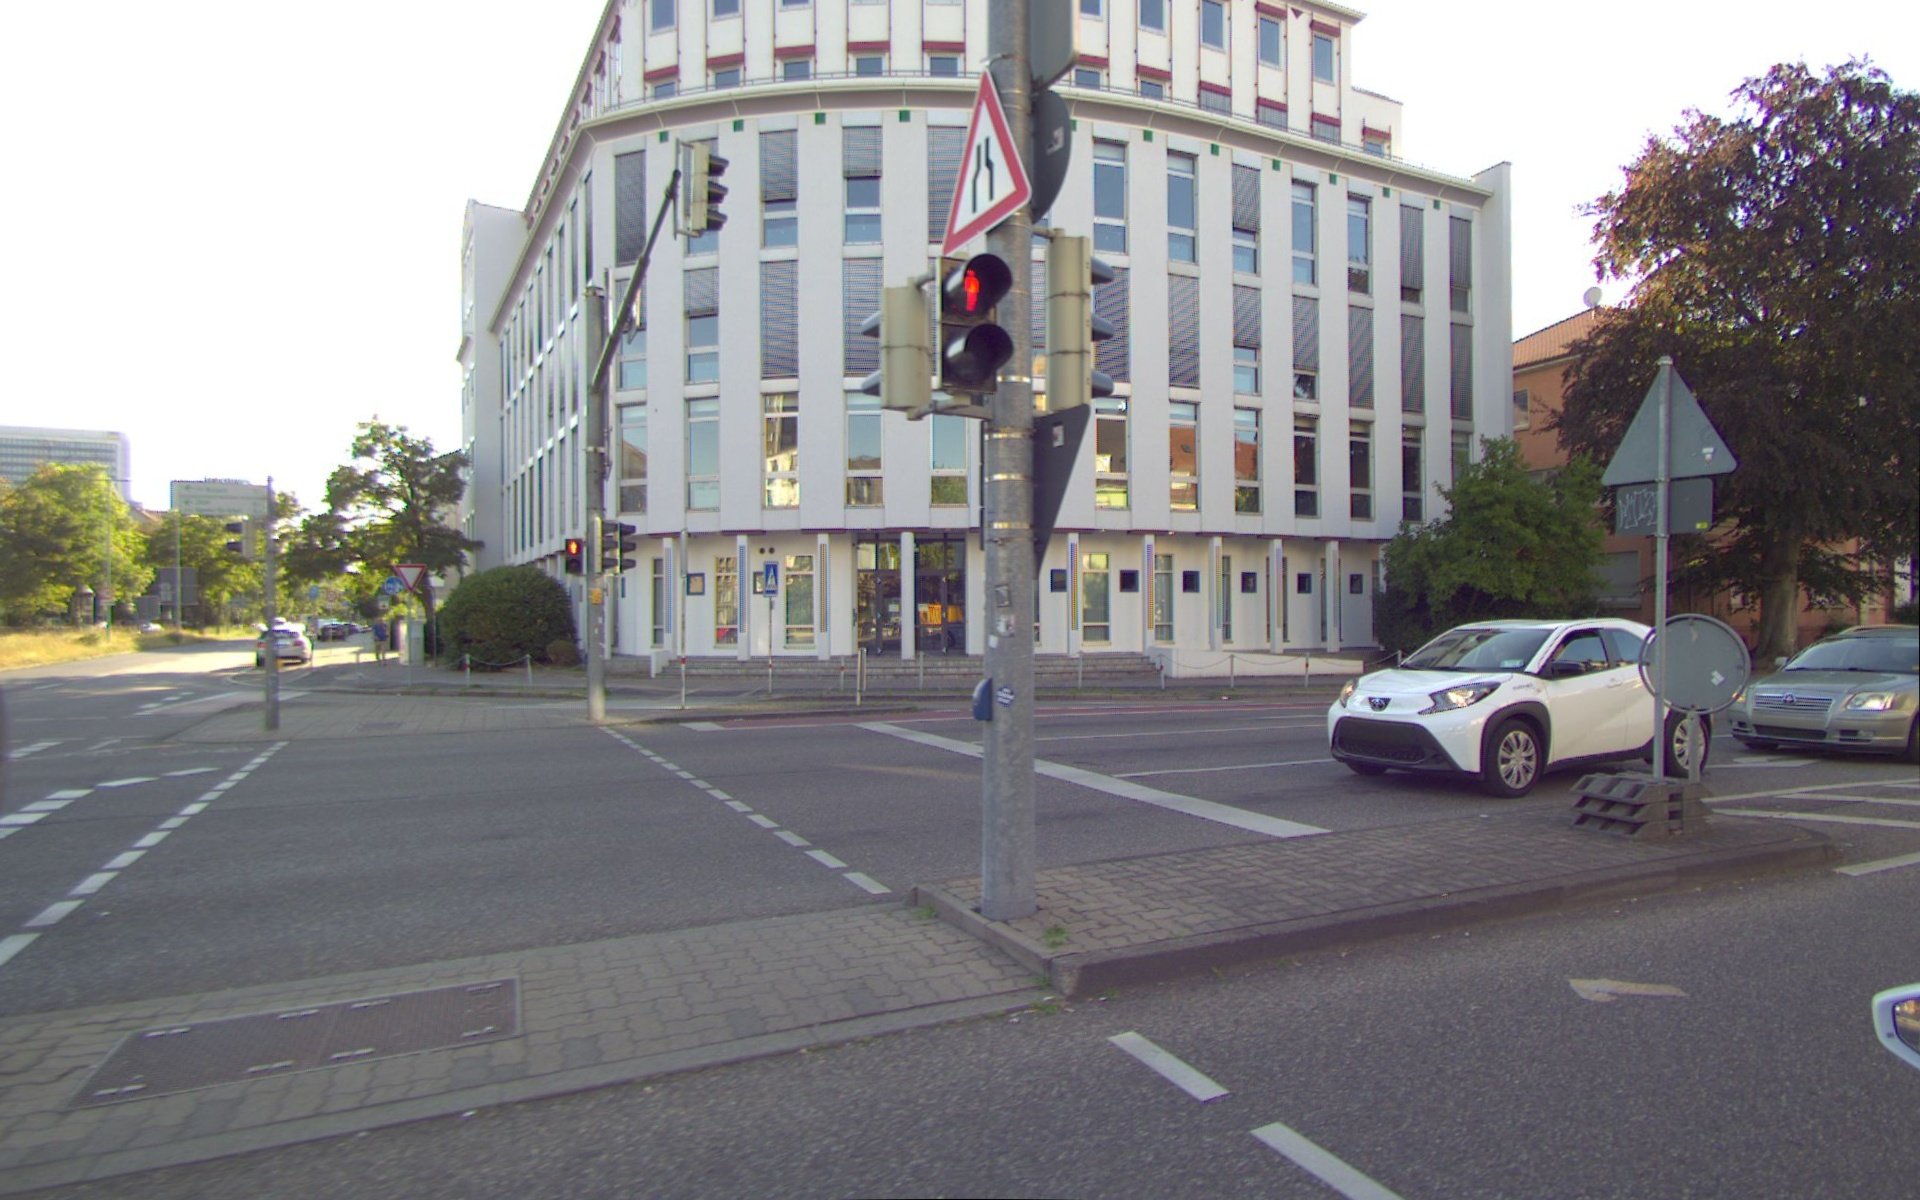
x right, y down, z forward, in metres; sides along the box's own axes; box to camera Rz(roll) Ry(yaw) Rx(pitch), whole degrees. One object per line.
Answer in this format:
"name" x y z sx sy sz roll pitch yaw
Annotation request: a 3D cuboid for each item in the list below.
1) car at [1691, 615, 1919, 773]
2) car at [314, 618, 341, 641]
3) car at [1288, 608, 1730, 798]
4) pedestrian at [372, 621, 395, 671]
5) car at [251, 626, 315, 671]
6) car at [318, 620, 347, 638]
"car" 10.973 0.971 11.878 4.542 1.534 1.822 0 -1 -25
"car" -58.179 2.691 92.430 1.976 2.040 3.968 0 -1 -30
"car" 5.275 0.840 9.653 3.849 1.480 1.822 0 -1 -25
"pedestrian" -21.294 1.676 37.083 0.691 1.814 0.477 0 0 -36
"car" -28.409 1.976 42.089 1.982 1.751 3.957 0 -1 -37
"car" -53.434 2.470 85.580 1.976 1.506 3.968 0 -1 -30
